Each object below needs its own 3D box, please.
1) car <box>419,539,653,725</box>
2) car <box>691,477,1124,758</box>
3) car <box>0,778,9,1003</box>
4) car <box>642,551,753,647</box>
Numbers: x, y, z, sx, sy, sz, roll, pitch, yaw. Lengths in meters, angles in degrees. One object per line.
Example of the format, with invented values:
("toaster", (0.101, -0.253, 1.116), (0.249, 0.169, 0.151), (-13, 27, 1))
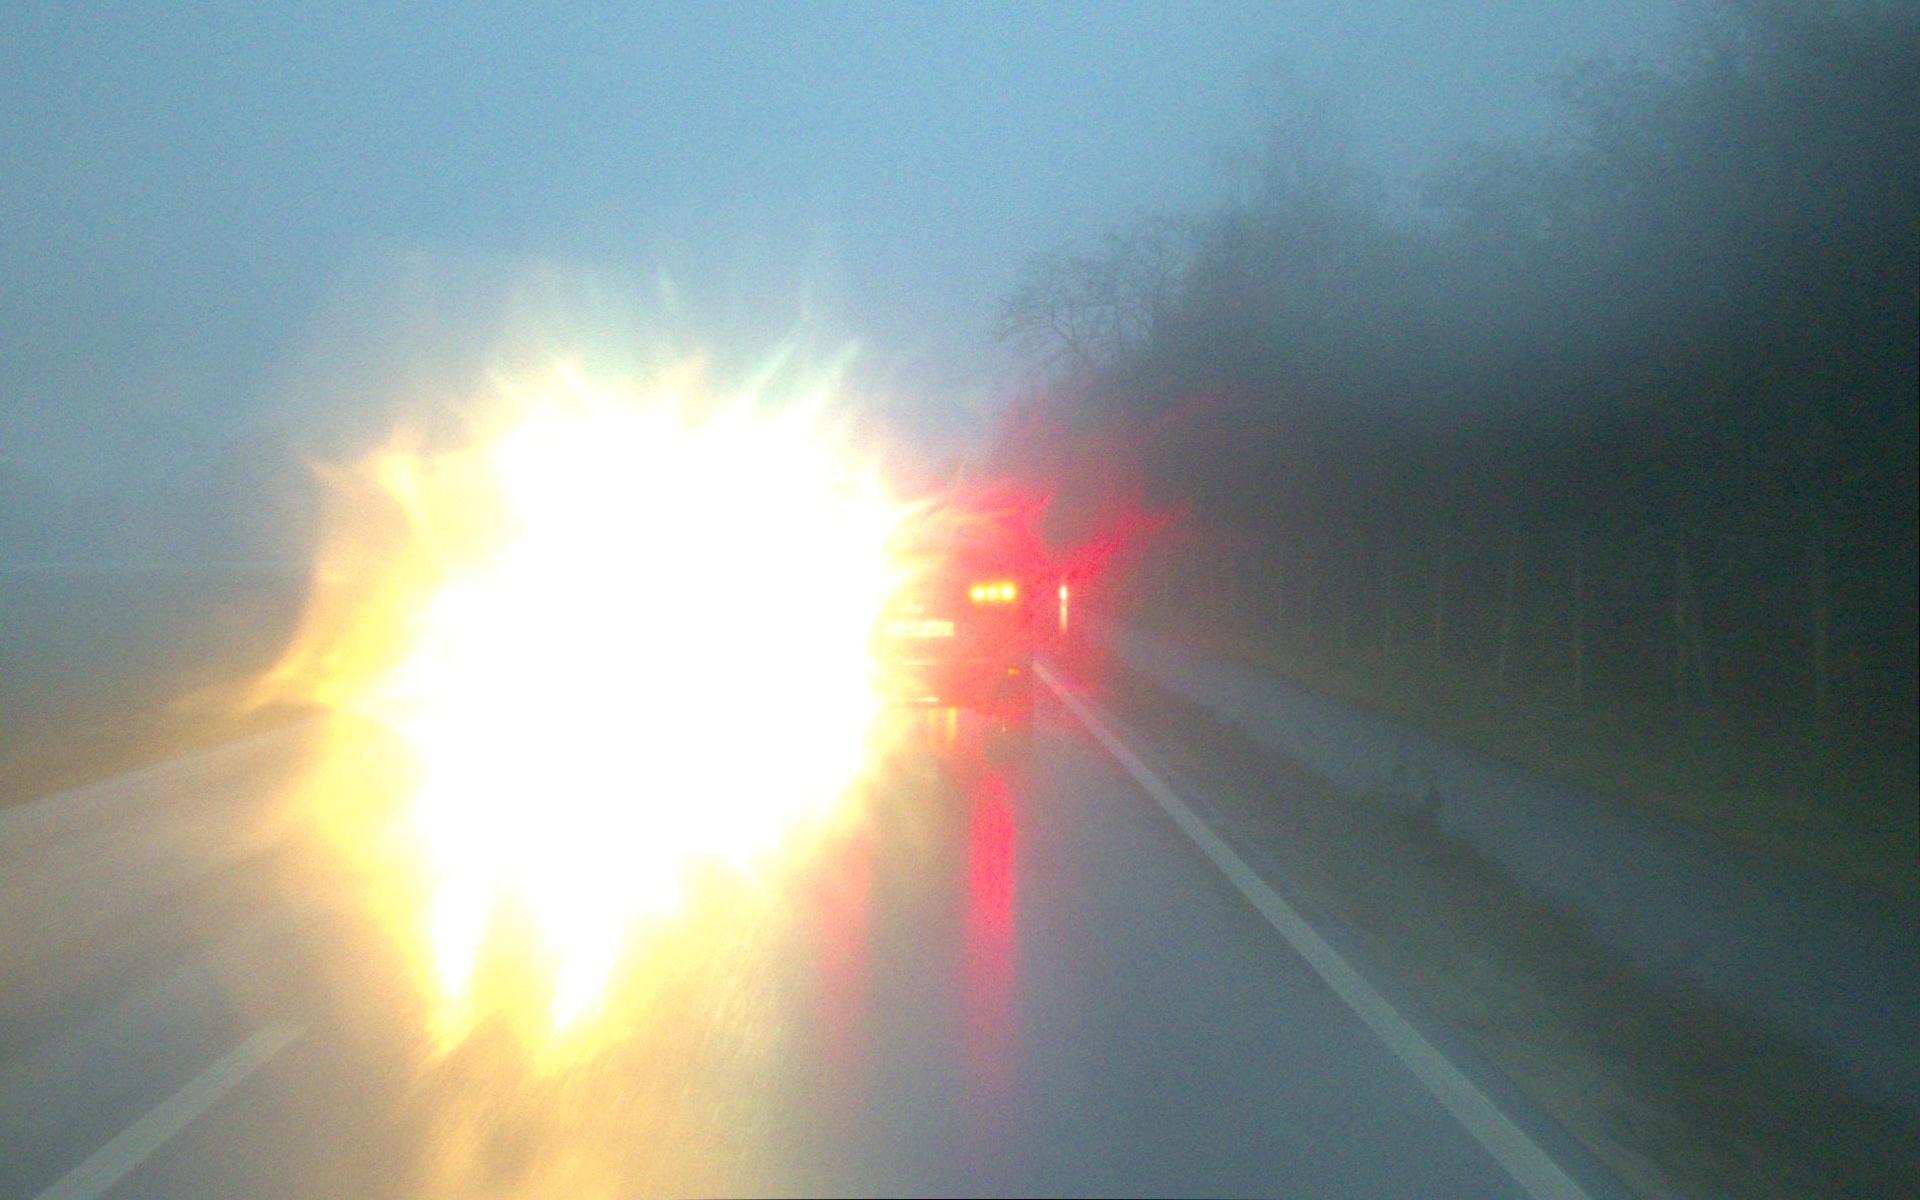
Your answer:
("car", (-4.661, 0.289, 38.471), (1.993, 1.864, 4.952), (-2, 1, -1))
("car", (-0.436, 0.060, 28.751), (3.164, 2.028, 6.852), (-1, 1, -1))
("car", (-3.950, 0.631, 9.543), (1.626, 1.467, 3.512), (-2, 1, -1))
("car", (-4.877, -0.047, 64.334), (1.729, 1.640, 4.262), (-3, 1, -1))
